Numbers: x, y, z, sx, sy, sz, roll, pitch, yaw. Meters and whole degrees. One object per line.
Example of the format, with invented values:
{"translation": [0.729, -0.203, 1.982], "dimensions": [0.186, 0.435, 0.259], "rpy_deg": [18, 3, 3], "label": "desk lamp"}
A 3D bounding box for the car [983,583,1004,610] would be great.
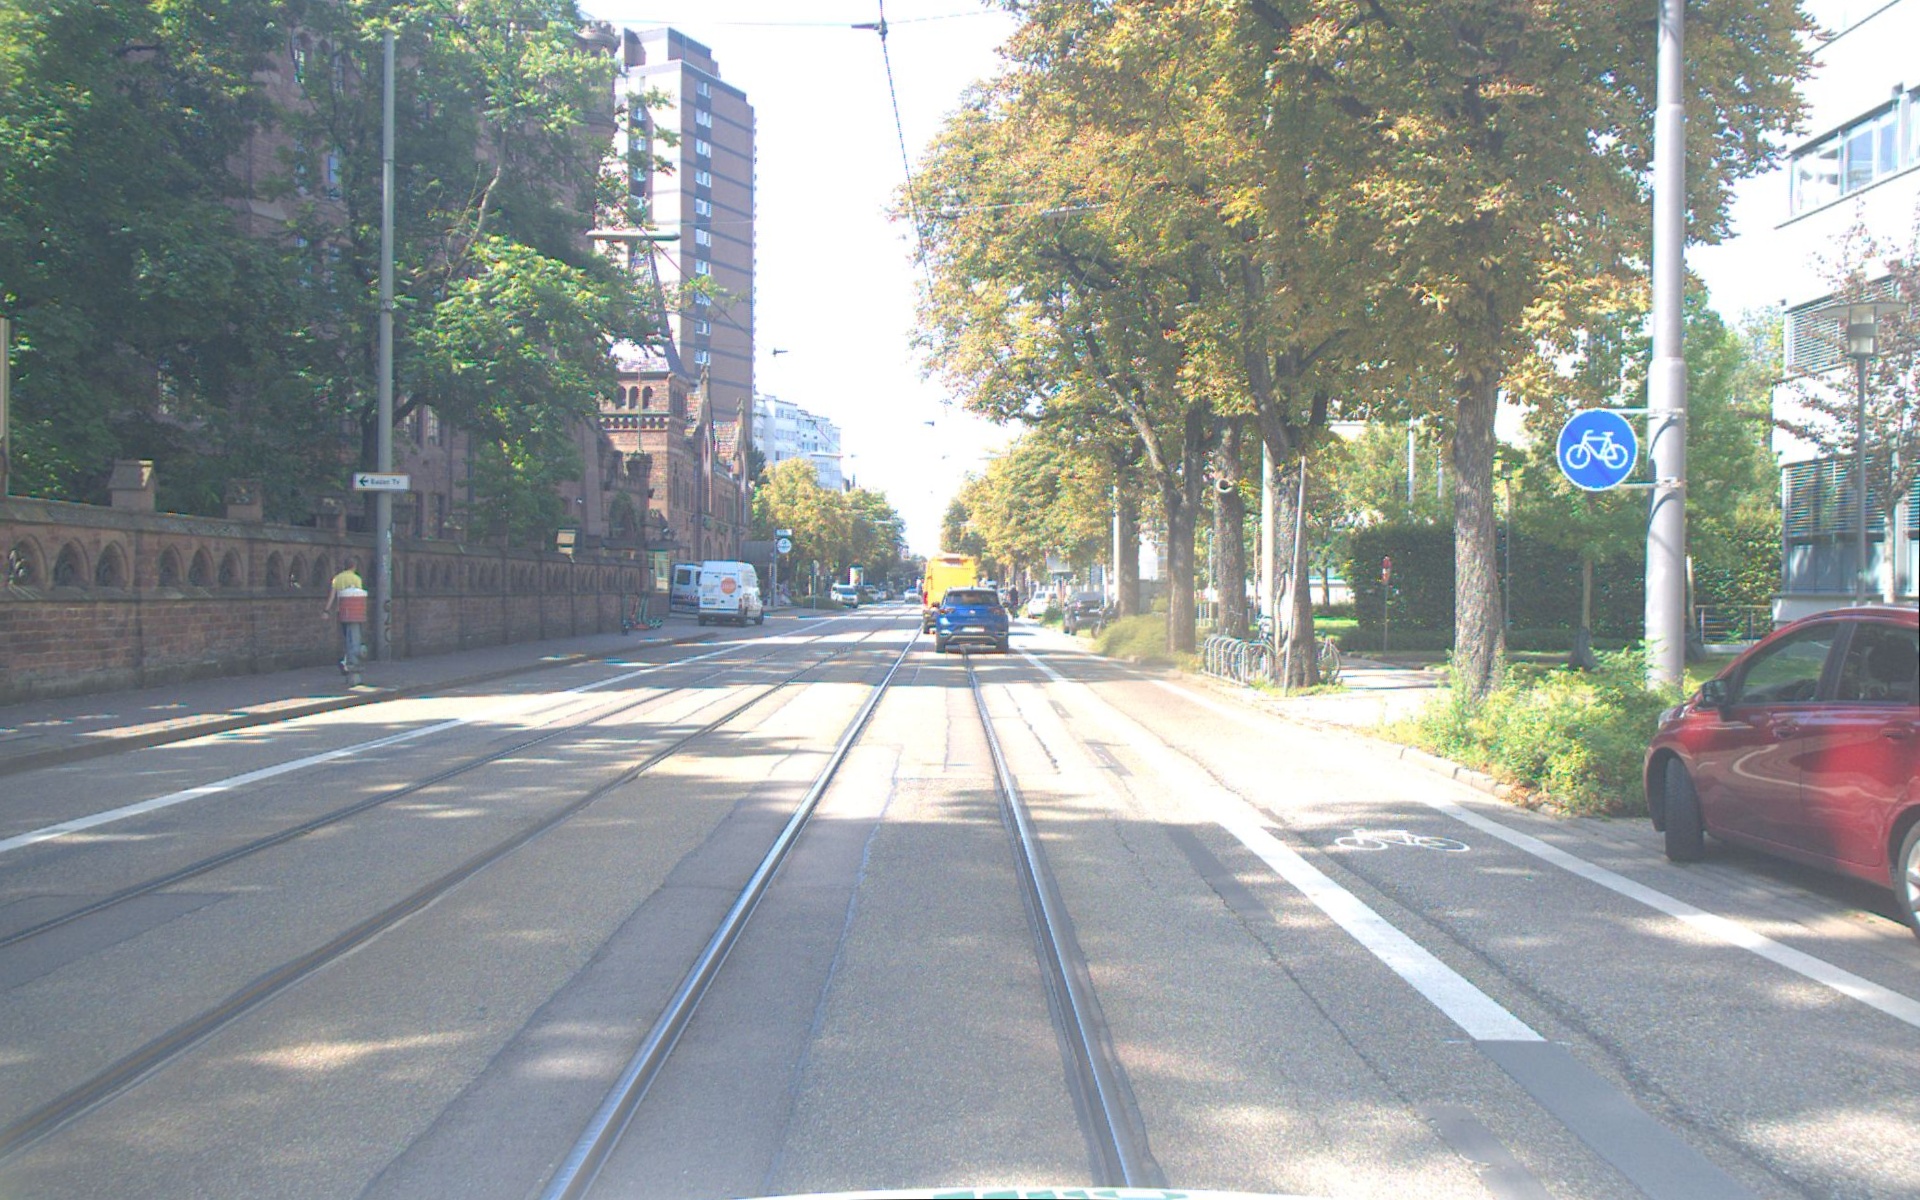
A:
{"translation": [3.536, -0.423, 175.596], "dimensions": [1.953, 2.804, 5.759], "rpy_deg": [1, 0, -1], "label": "car"}

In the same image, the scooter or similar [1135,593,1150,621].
{"translation": [8.425, 0.301, 76.341], "dimensions": [0.544, 1.281, 1.818], "rpy_deg": [1, 0, 2], "label": "scooter or similar"}

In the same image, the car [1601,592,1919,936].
{"translation": [5.050, 0.711, 8.631], "dimensions": [1.720, 1.487, 4.274], "rpy_deg": [0, 0, -1], "label": "car"}

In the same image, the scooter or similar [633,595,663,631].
{"translation": [-10.355, 0.423, 54.911], "dimensions": [0.332, 1.199, 1.177], "rpy_deg": [0, 0, 24], "label": "scooter or similar"}

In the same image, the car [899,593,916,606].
{"translation": [-6.264, -0.052, 196.560], "dimensions": [1.809, 1.518, 4.867], "rpy_deg": [-1, 0, 0], "label": "car"}

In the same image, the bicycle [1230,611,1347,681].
{"translation": [5.190, 0.722, 26.203], "dimensions": [1.735, 1.068, 0.540], "rpy_deg": [-1, 0, -2], "label": "bicycle"}

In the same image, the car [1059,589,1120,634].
{"translation": [4.703, 0.406, 60.492], "dimensions": [1.720, 1.542, 4.608], "rpy_deg": [-1, 0, -2], "label": "car"}

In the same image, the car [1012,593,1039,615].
{"translation": [4.322, 0.264, 109.750], "dimensions": [1.625, 1.432, 4.216], "rpy_deg": [-1, 0, 0], "label": "car"}

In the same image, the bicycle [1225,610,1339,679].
{"translation": [5.228, 0.720, 26.881], "dimensions": [1.735, 1.068, 0.540], "rpy_deg": [-1, 0, -2], "label": "bicycle"}

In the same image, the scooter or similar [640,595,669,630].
{"translation": [-10.349, 0.418, 56.045], "dimensions": [0.332, 1.199, 1.177], "rpy_deg": [0, 0, 24], "label": "scooter or similar"}

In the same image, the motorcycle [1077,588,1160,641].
{"translation": [4.760, 0.413, 49.827], "dimensions": [2.408, 1.542, 0.849], "rpy_deg": [1, 0, 38], "label": "motorcycle"}

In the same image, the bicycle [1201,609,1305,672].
{"translation": [5.189, 0.710, 29.360], "dimensions": [1.735, 1.068, 0.540], "rpy_deg": [-1, 0, -2], "label": "bicycle"}

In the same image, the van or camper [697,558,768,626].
{"translation": [-9.512, -0.333, 69.614], "dimensions": [2.069, 2.722, 5.956], "rpy_deg": [1, 0, 1], "label": "van or camper"}

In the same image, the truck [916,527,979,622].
{"translation": [-0.431, -0.877, 58.822], "dimensions": [2.092, 3.179, 6.084], "rpy_deg": [0, 0, 0], "label": "truck"}

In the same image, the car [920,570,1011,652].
{"translation": [0.117, 0.249, 41.385], "dimensions": [2.092, 1.891, 5.567], "rpy_deg": [0, 0, 0], "label": "car"}

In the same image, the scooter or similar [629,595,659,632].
{"translation": [-10.259, 0.428, 53.740], "dimensions": [0.332, 1.199, 1.177], "rpy_deg": [0, 0, 24], "label": "scooter or similar"}

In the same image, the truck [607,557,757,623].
{"translation": [-12.470, -0.474, 74.427], "dimensions": [6.188, 2.582, 2.132], "rpy_deg": [3, 2, 4], "label": "truck"}

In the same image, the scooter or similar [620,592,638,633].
{"translation": [-9.899, 0.357, 49.442], "dimensions": [0.413, 1.199, 1.311], "rpy_deg": [1, 0, -16], "label": "scooter or similar"}

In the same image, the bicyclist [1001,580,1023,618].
{"translation": [2.552, -0.058, 81.063], "dimensions": [1.010, 1.844, 1.016], "rpy_deg": [1, 0, -1], "label": "bicyclist"}

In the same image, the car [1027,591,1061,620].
{"translation": [4.621, 0.302, 91.372], "dimensions": [1.625, 1.507, 4.216], "rpy_deg": [-1, 0, 0], "label": "car"}

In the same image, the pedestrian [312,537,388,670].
{"translation": [-9.611, 0.055, 26.097], "dimensions": [0.846, 2.049, 0.983], "rpy_deg": [1, 0, -3], "label": "pedestrian"}

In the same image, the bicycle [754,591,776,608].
{"translation": [-13.841, -0.018, 117.368], "dimensions": [1.423, 1.112, 0.399], "rpy_deg": [4, 0, -5], "label": "bicycle"}

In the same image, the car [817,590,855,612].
{"translation": [-10.327, 0.064, 137.816], "dimensions": [1.727, 1.828, 3.963], "rpy_deg": [1, 0, -28], "label": "car"}

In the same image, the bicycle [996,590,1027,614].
{"translation": [2.515, 0.107, 81.086], "dimensions": [1.373, 1.154, 3.999], "rpy_deg": [0, 0, -1], "label": "bicycle"}

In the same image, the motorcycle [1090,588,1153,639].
{"translation": [5.008, 0.408, 51.530], "dimensions": [0.839, 1.542, 2.436], "rpy_deg": [1, 0, -25], "label": "motorcycle"}

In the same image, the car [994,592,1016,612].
{"translation": [3.911, 0.126, 144.487], "dimensions": [1.705, 1.697, 4.360], "rpy_deg": [1, 0, -2], "label": "car"}

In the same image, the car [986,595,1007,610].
{"translation": [3.622, 0.226, 165.004], "dimensions": [1.869, 1.456, 4.291], "rpy_deg": [1, 0, -2], "label": "car"}
